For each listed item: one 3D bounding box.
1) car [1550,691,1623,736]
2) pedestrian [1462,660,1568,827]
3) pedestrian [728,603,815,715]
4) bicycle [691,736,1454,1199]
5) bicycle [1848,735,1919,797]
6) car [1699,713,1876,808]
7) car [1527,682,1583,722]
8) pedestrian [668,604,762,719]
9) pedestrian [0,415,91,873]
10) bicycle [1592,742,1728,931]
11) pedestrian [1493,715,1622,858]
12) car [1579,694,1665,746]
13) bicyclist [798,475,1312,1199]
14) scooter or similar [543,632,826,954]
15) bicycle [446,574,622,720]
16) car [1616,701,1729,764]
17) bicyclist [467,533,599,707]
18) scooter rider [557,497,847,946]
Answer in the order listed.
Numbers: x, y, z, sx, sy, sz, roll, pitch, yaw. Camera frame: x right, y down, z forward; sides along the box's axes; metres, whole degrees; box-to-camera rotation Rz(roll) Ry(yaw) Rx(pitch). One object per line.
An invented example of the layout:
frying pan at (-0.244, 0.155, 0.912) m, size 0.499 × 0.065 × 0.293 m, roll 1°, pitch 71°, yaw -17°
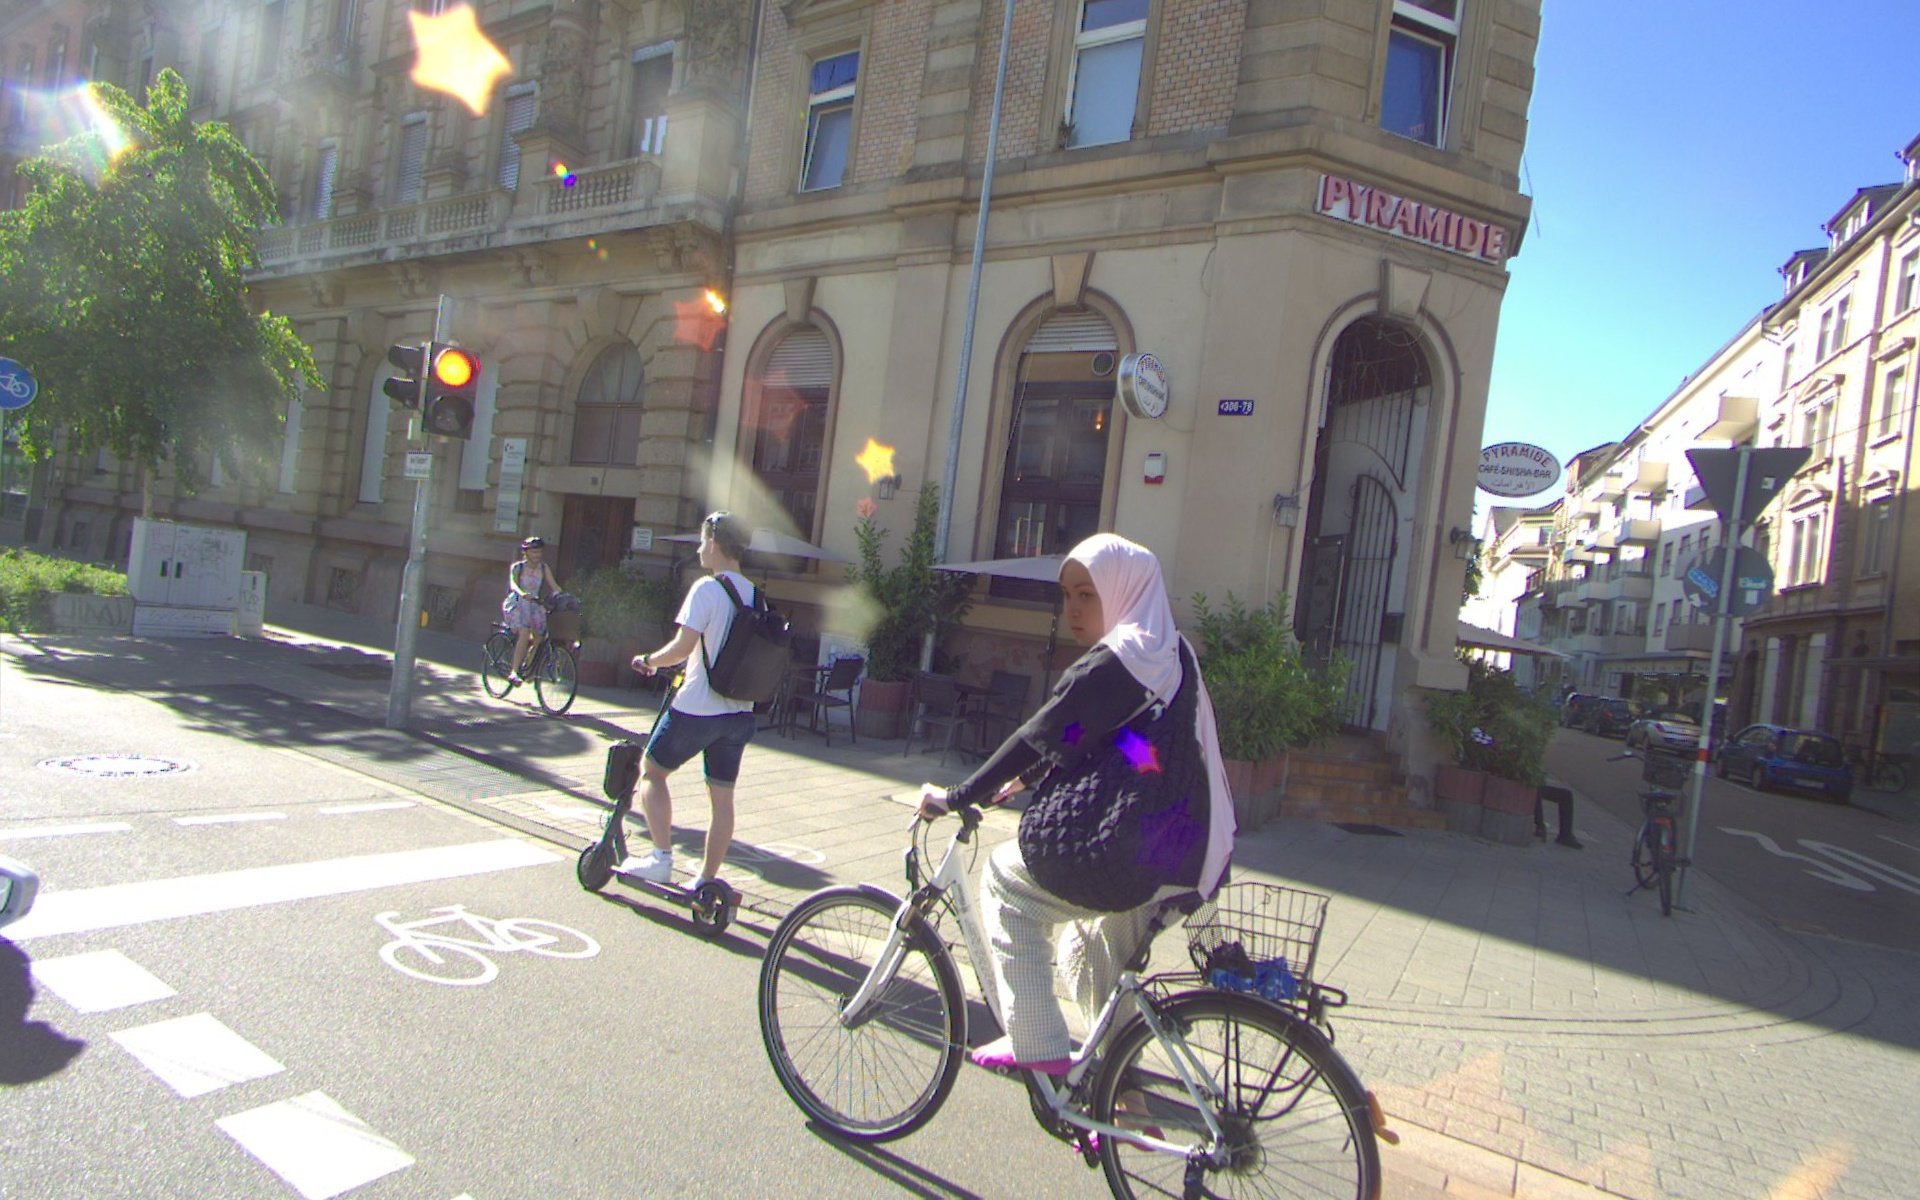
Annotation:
car at (25.851, 4.650, 41.654) m, size 1.769 × 1.449 × 3.773 m, roll 7°, pitch -1°, yaw 22°
pedestrian at (6.594, 1.679, 12.012) m, size 0.852 × 1.781 × 0.909 m, roll 7°, pitch -1°, yaw 25°
pedestrian at (-2.288, 0.713, 12.232) m, size 0.624 × 1.252 × 0.706 m, roll 7°, pitch 2°, yaw 31°
bicycle at (0.212, 1.055, 2.599) m, size 1.762 × 1.105 × 0.558 m, roll 7°, pitch -2°, yaw 31°
bicycle at (22.178, 3.939, 23.686) m, size 0.621 × 1.192 × 2.014 m, roll 7°, pitch 0°, yaw 1°
car at (18.508, 3.534, 22.742) m, size 1.769 × 1.437 × 4.000 m, roll 9°, pitch 0°, yaw 22°
car at (30.113, 5.132, 51.014) m, size 1.769 × 1.685 × 3.772 m, roll 7°, pitch -1°, yaw 23°
pedestrian at (-2.776, 0.692, 11.420) m, size 0.624 × 1.193 × 0.706 m, roll 7°, pitch 2°, yaw 31°
pedestrian at (-4.302, 0.118, 3.951) m, size 0.953 × 1.809 × 0.867 m, roll 7°, pitch -1°, yaw 25°
bicycle at (5.695, 1.843, 8.205) m, size 0.643 × 1.186 × 1.818 m, roll 11°, pitch 2°, yaw 35°
pedestrian at (6.073, 1.870, 10.290) m, size 0.917 × 1.228 × 0.852 m, roll 7°, pitch -1°, yaw 25°
car at (24.070, 4.311, 36.710) m, size 1.769 × 1.449 × 3.773 m, roll 7°, pitch -1°, yaw 22°
bicyclist at (0.278, 0.635, 2.594) m, size 0.854 × 1.731 × 0.781 m, roll 7°, pitch -2°, yaw 31°
scooter or similar at (-1.322, 0.856, 4.792) m, size 1.151 × 1.240 × 0.492 m, roll 7°, pitch -2°, yaw 31°
bicycle at (-4.420, 0.460, 10.385) m, size 1.868 × 1.238 × 0.584 m, roll 7°, pitch 0°, yaw 31°
car at (21.825, 4.015, 30.982) m, size 1.769 × 1.350 × 4.000 m, roll 9°, pitch 0°, yaw 22°
bicyclist at (-4.414, 0.205, 10.401) m, size 0.944 × 1.659 × 0.667 m, roll 7°, pitch 1°, yaw 31°
scooter rider at (-1.220, 0.527, 4.797) m, size 0.886 × 1.882 × 0.668 m, roll 7°, pitch -1°, yaw 31°
